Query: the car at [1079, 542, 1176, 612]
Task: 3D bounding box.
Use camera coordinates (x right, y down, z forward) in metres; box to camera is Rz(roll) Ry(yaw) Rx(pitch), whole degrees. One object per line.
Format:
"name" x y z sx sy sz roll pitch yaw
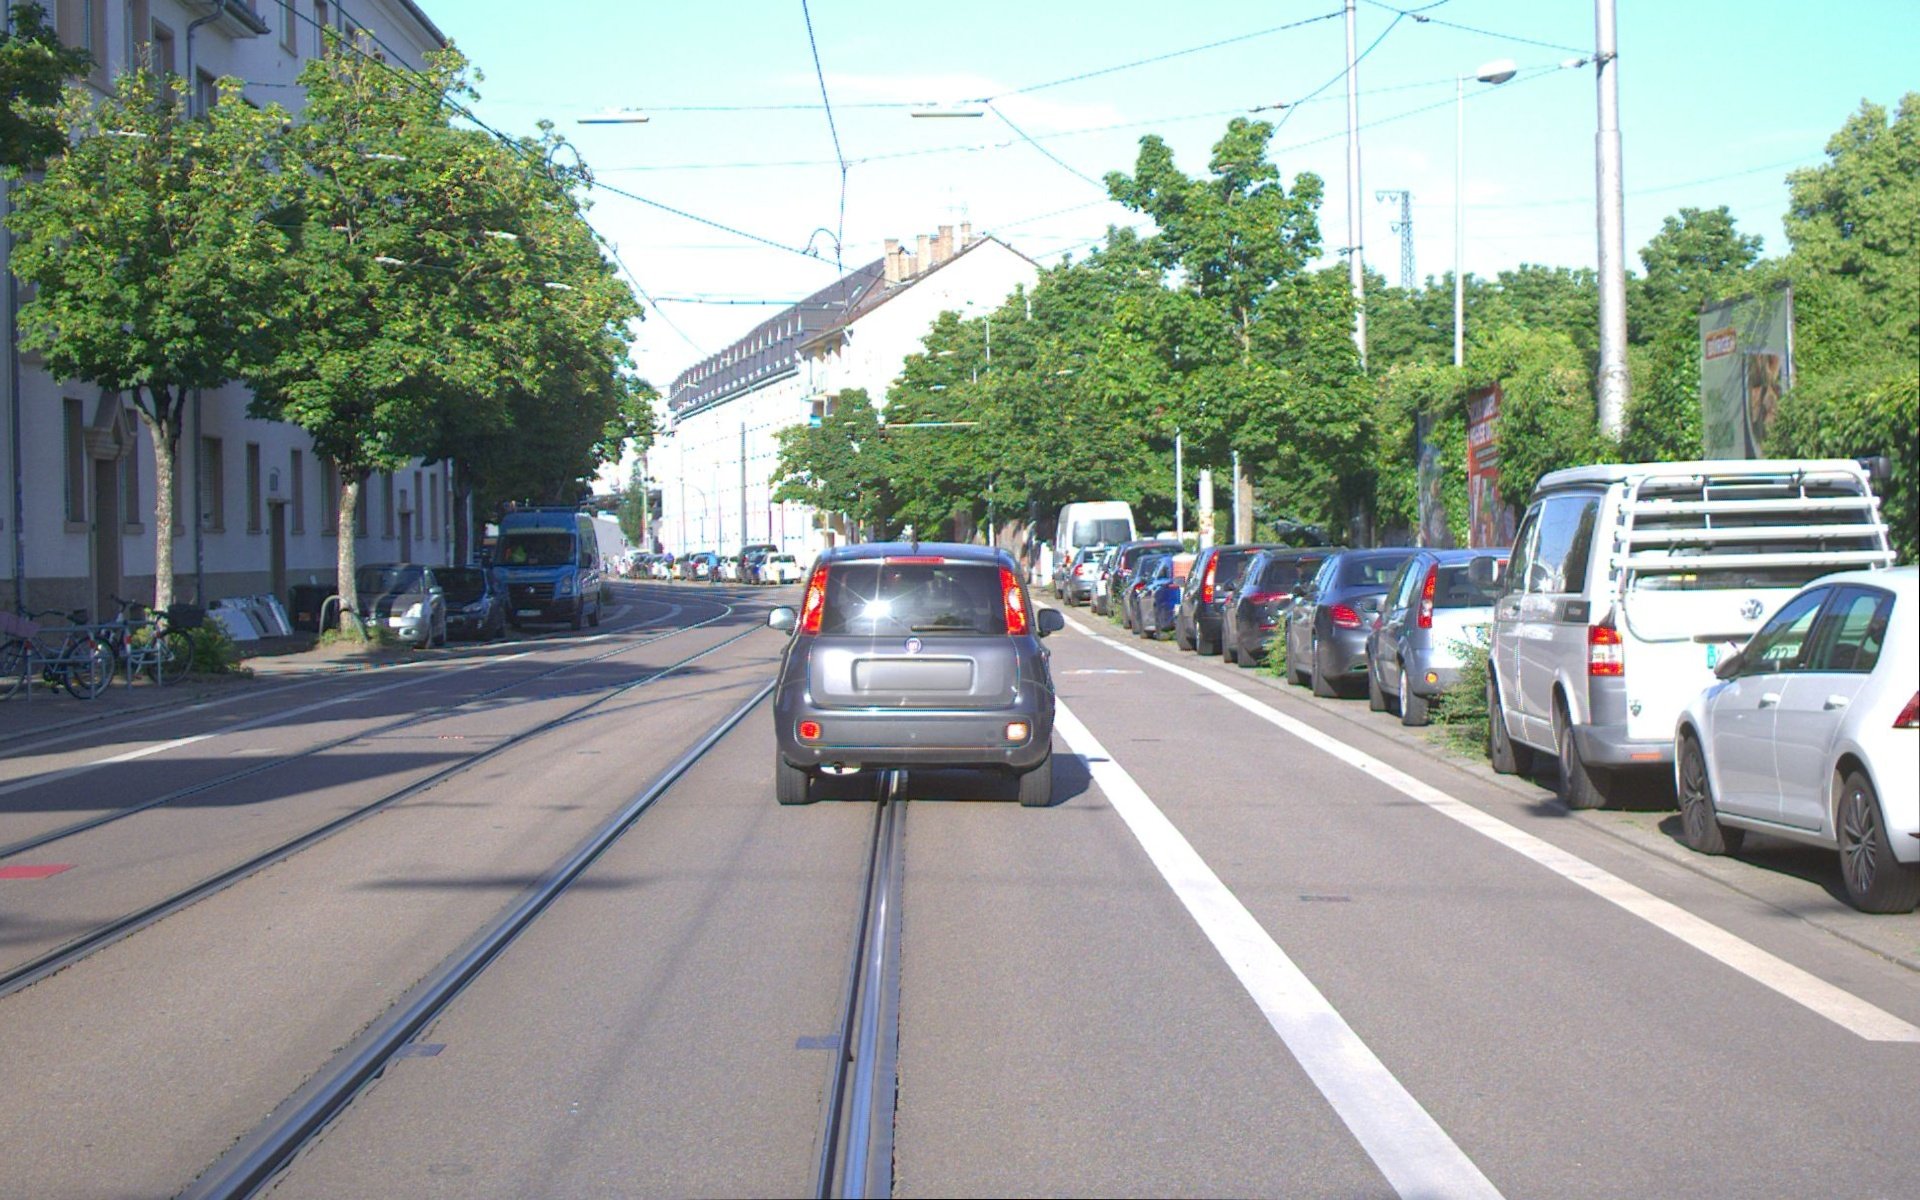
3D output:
"car" 3.731 -0.521 77.247 1.727 1.507 4.252 0 1 -3

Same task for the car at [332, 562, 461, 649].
"car" -10.009 0.080 61.262 1.651 1.486 4.000 0 1 0

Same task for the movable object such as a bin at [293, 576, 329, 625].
"movable object such as a bin" -12.568 0.009 66.553 0.596 0.931 0.569 -1 1 -3

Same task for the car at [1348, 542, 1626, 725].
"car" 4.493 0.248 29.840 1.873 1.467 4.075 0 1 1

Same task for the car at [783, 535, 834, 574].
"car" -6.329 -1.906 143.382 1.635 1.503 3.398 -3 1 -10

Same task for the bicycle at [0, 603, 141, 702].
"bicycle" -9.931 0.563 37.788 0.668 1.036 1.783 1 1 37

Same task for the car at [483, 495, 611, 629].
"car" -9.018 -0.826 75.448 2.017 2.816 6.032 0 1 1

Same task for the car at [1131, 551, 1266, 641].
"car" 3.995 -0.086 58.147 1.727 1.459 4.342 0 1 -3

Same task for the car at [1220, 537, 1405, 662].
"car" 4.360 -0.029 43.115 1.824 1.447 4.642 -1 1 0

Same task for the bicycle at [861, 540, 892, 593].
"bicycle" -2.805 -1.120 115.400 0.675 1.741 2.158 0 0 -11

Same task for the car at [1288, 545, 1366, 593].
"car" 8.157 -0.694 76.540 1.309 1.030 3.057 0 1 -2

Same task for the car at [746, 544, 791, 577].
"car" -9.282 -1.890 166.188 1.655 1.566 3.877 0 1 -11

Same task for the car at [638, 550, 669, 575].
"car" -19.289 -2.361 216.479 1.582 1.593 3.377 0 1 -11

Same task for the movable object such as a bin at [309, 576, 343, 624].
"movable object such as a bin" -12.603 -0.008 68.349 0.596 0.931 0.569 -1 1 -3

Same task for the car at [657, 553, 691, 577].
"car" -16.966 -2.092 203.791 1.582 1.400 3.377 0 1 -11

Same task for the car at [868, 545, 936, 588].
"car" -2.191 -1.241 128.548 1.688 1.525 4.001 -2 1 -13

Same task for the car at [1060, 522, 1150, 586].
"car" 3.623 -1.142 86.589 1.910 1.524 4.601 -1 1 -1

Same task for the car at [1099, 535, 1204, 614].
"car" 4.000 -0.542 72.464 1.727 1.599 4.343 0 1 -3

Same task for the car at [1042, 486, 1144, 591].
"car" 3.569 -1.640 93.210 2.180 2.656 6.091 -3 1 -2

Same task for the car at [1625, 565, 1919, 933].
"car" 4.495 0.574 16.067 1.675 1.413 4.503 -2 1 -2

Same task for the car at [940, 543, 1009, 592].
"car" 0.459 -1.066 112.258 1.688 1.525 4.001 -2 1 -7

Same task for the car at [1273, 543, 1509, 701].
"car" 4.283 0.188 34.762 1.824 1.479 4.601 0 1 0

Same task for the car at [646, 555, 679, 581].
"car" -18.182 -1.962 209.955 1.582 1.593 3.377 0 1 -11

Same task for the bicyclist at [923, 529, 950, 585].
"bicyclist" -0.739 -1.334 106.963 0.699 1.753 0.758 0 0 -11

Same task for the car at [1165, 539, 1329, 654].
"car" 4.068 -0.069 49.271 1.824 1.487 3.815 -3 1 -2

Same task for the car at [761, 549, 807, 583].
"car" -8.308 -1.586 161.893 1.655 1.566 3.500 0 1 -11

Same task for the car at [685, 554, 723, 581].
"car" -14.181 -1.790 190.099 1.582 1.400 3.377 -4 1 -11

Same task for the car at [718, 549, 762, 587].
"car" -11.293 -1.640 176.257 1.655 1.937 4.666 0 1 -11

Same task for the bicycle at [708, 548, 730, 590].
"bicycle" -11.735 -1.507 167.335 0.741 2.007 2.812 0 0 -11

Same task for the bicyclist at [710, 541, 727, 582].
"bicyclist" -11.737 -1.885 167.340 0.715 2.007 0.832 0 0 -11

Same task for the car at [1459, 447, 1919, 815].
"car" 4.383 0.141 21.444 1.854 1.984 5.242 -1 1 1

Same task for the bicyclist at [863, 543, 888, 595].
"bicyclist" -2.832 -1.035 115.430 0.699 1.753 0.758 0 0 -11

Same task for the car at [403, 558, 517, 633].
"car" -9.798 -0.113 67.580 1.651 1.420 4.190 0 1 0

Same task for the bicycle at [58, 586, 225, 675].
"bicycle" -9.850 0.355 41.431 0.532 1.036 1.982 1 1 44

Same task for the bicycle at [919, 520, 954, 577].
"bicycle" -0.737 -1.606 106.977 0.675 1.741 2.158 0 0 -11

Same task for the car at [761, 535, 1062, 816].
"car" -0.297 0.391 21.169 1.650 1.536 4.235 1 1 -1
